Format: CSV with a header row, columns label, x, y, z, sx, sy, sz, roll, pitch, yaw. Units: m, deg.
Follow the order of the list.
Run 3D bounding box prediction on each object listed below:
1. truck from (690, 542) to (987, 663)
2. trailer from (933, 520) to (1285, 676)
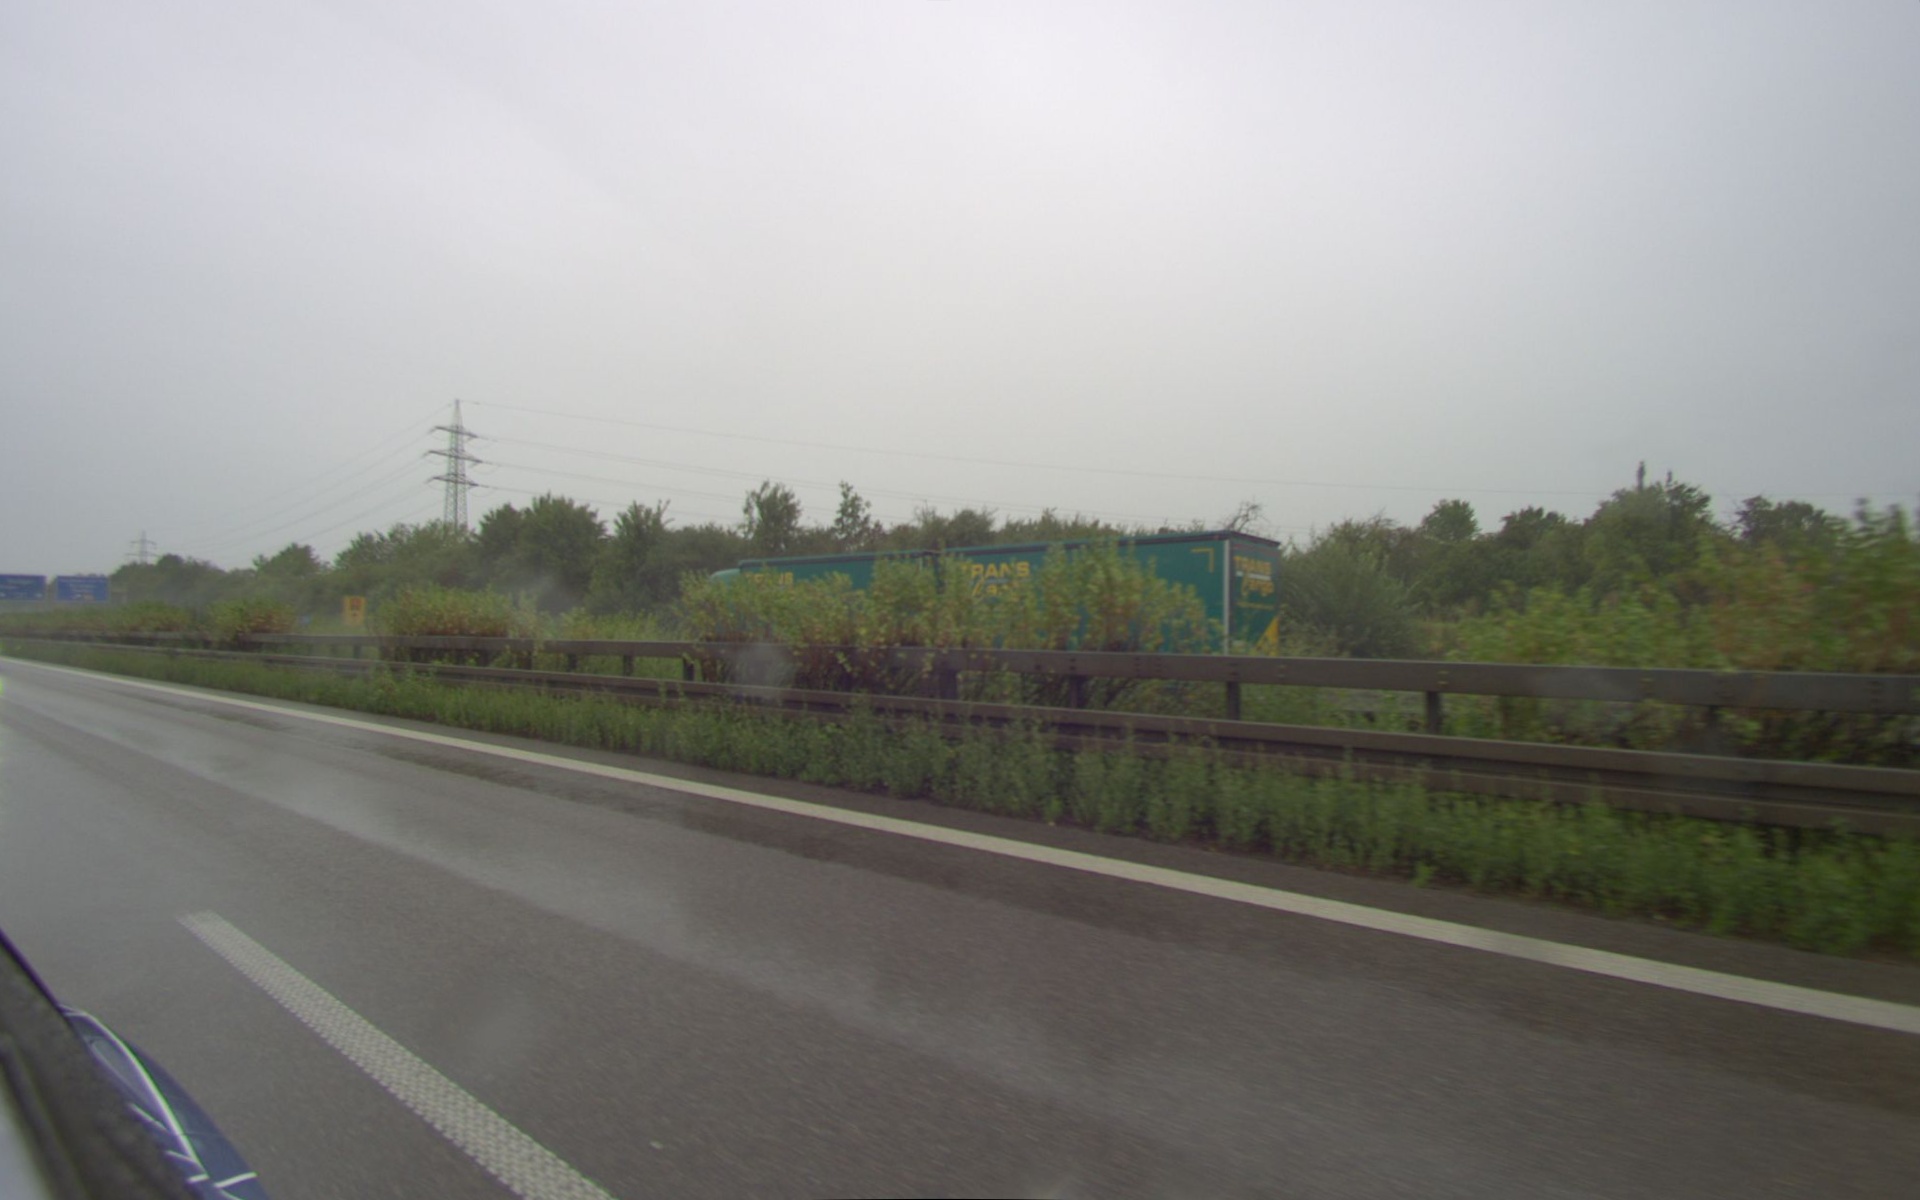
label,x,y,z,sx,sy,sz,roll,pitch,yaw
truck,-3.993,0.109,29.947,10.611,3.059,2.216,-1,0,41
trailer,3.145,-0.006,23.609,8.262,3.088,2.223,-1,0,42
